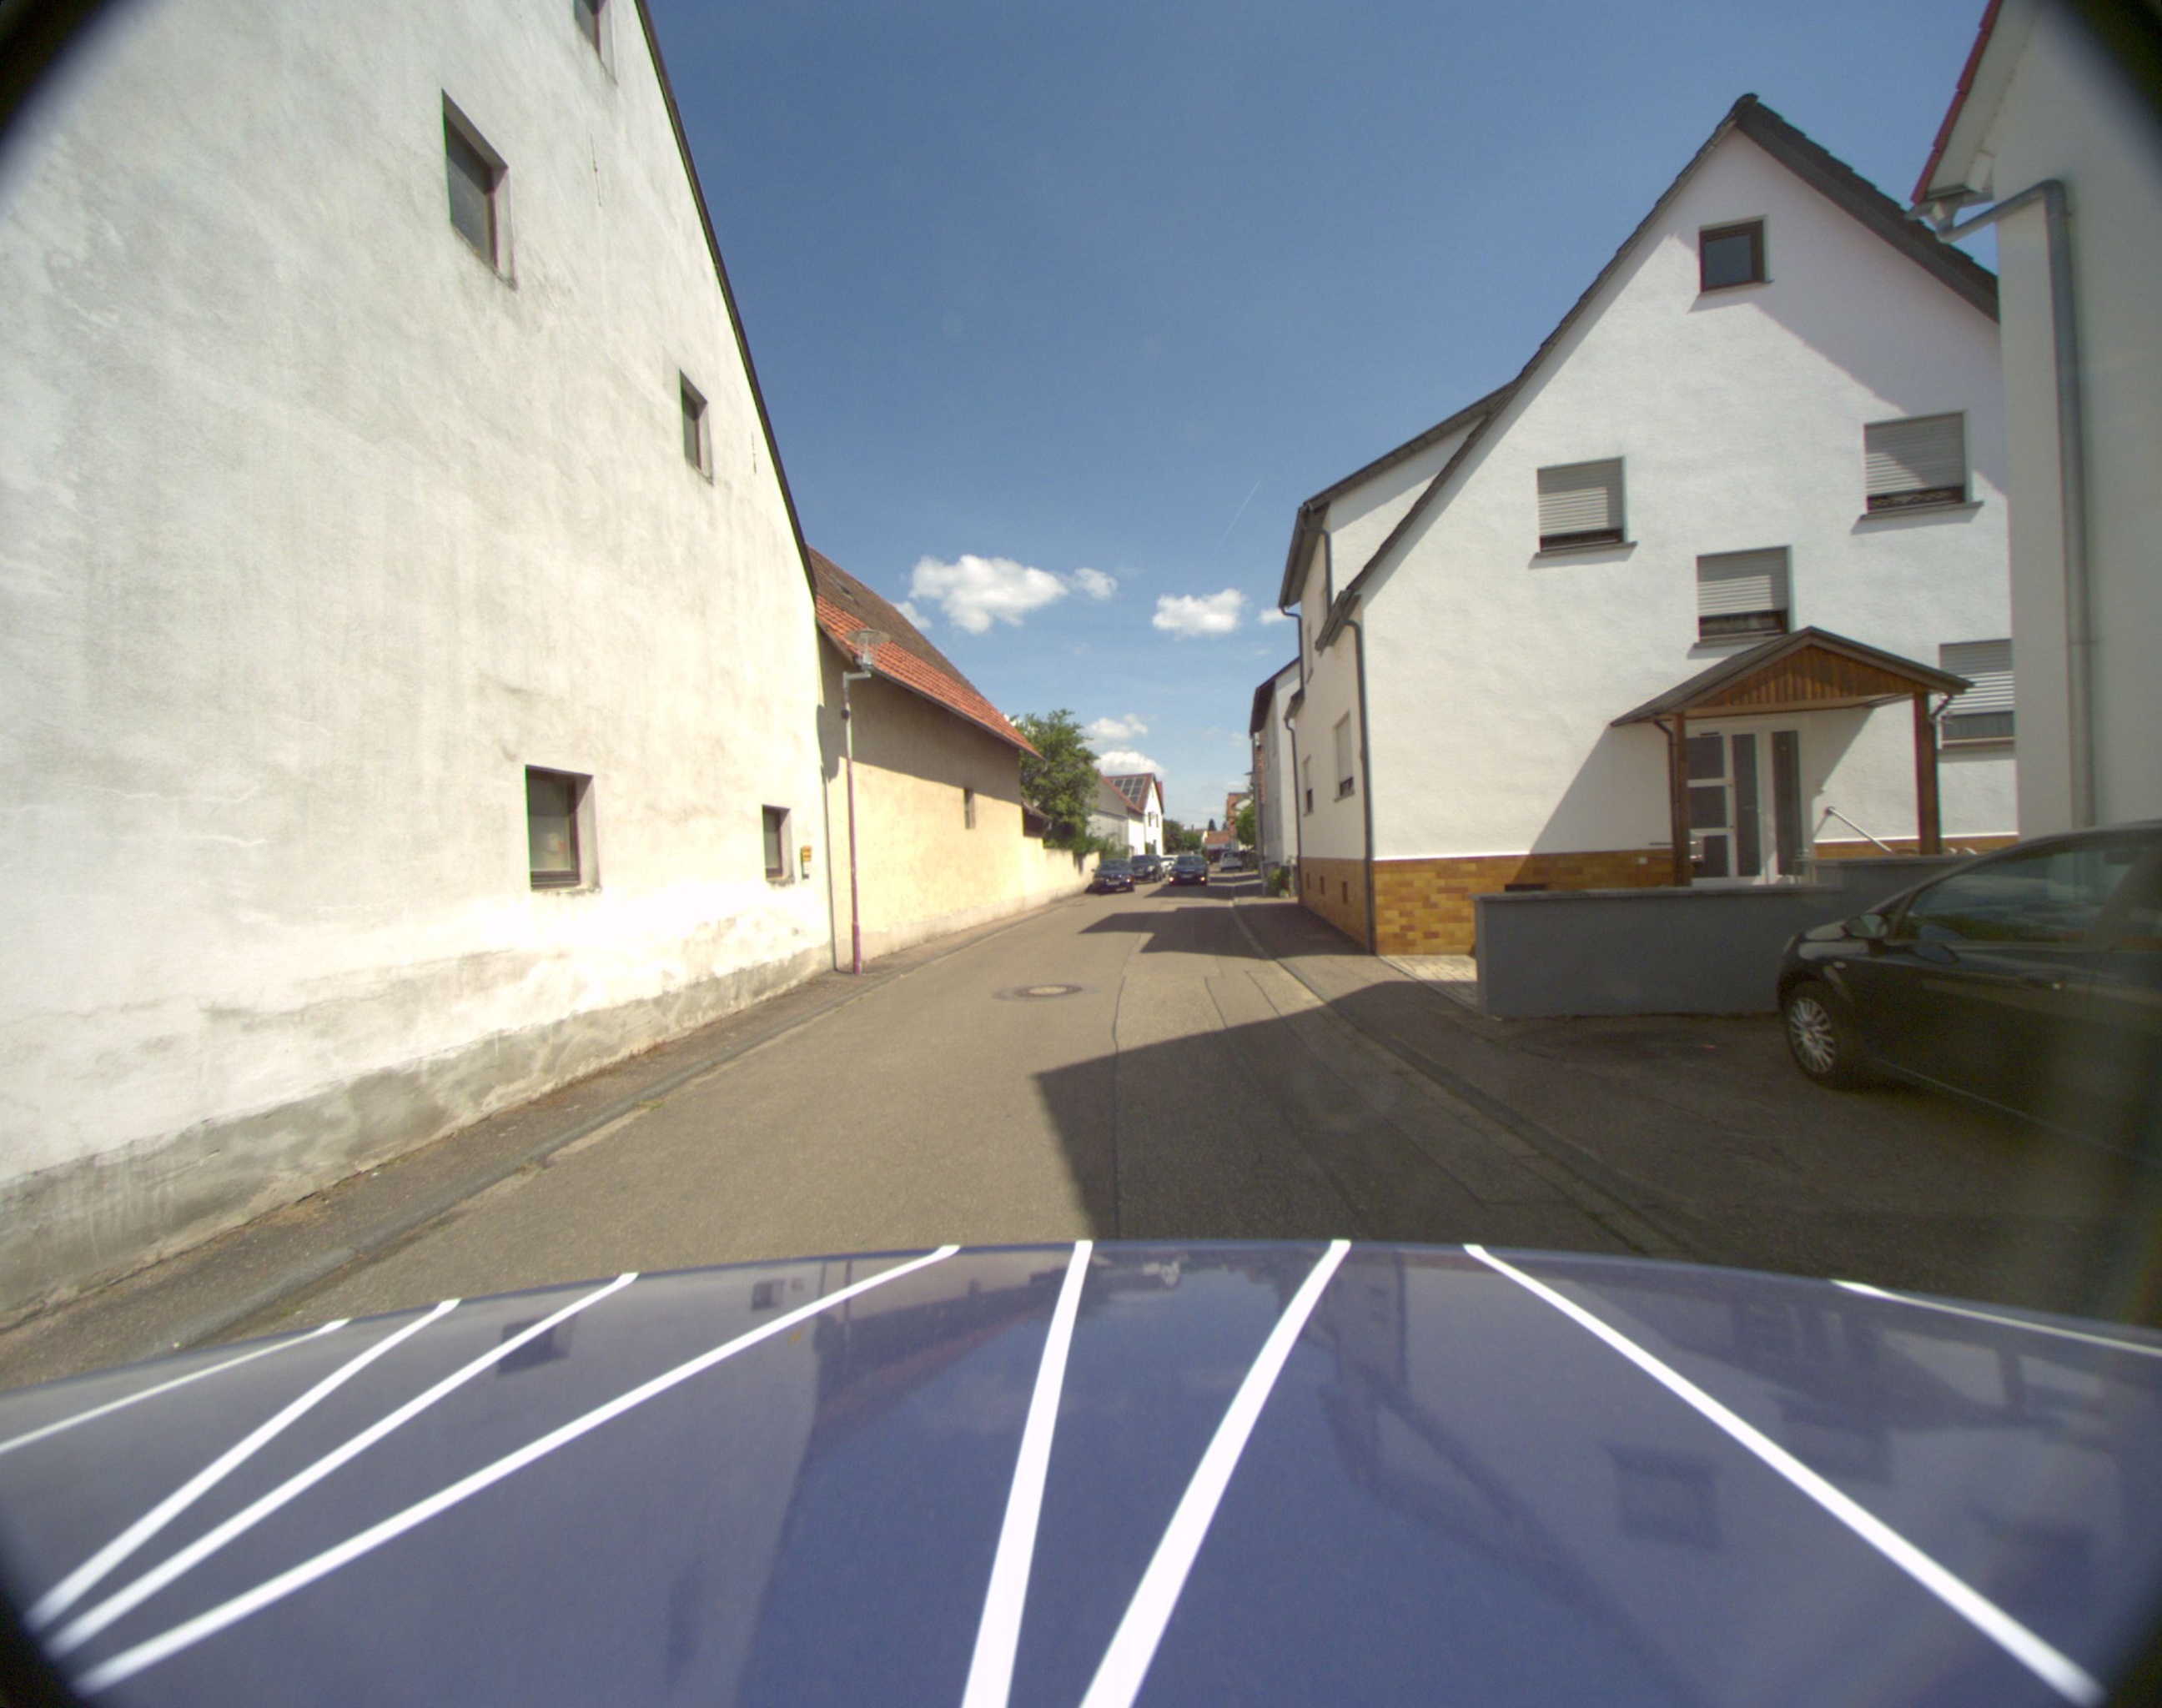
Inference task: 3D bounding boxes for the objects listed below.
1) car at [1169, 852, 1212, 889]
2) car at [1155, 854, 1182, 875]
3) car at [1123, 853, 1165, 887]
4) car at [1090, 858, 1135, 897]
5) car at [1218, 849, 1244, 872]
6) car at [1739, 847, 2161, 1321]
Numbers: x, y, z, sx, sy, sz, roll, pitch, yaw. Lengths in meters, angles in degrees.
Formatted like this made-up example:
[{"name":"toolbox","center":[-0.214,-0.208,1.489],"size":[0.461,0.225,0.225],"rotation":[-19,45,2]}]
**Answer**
[{"name":"car","center":[5.429,0.758,37.262],"size":[1.783,1.527,4.713],"rotation":[-2,1,11]},{"name":"car","center":[7.201,0.842,62.373],"size":[1.783,1.491,4.042],"rotation":[-5,0,11]},{"name":"car","center":[3.571,0.840,42.366],"size":[1.783,1.600,4.003],"rotation":[-5,0,11]},{"name":"car","center":[1.448,0.982,33.425],"size":[1.784,1.471,4.001],"rotation":[-2,0,4]},{"name":"car","center":[11.991,0.477,60.766],"size":[1.783,1.600,4.003],"rotation":[-5,0,11]},{"name":"car","center":[4.427,0.745,2.768],"size":[1.640,1.446,3.791],"rotation":[-3,0,17]}]
